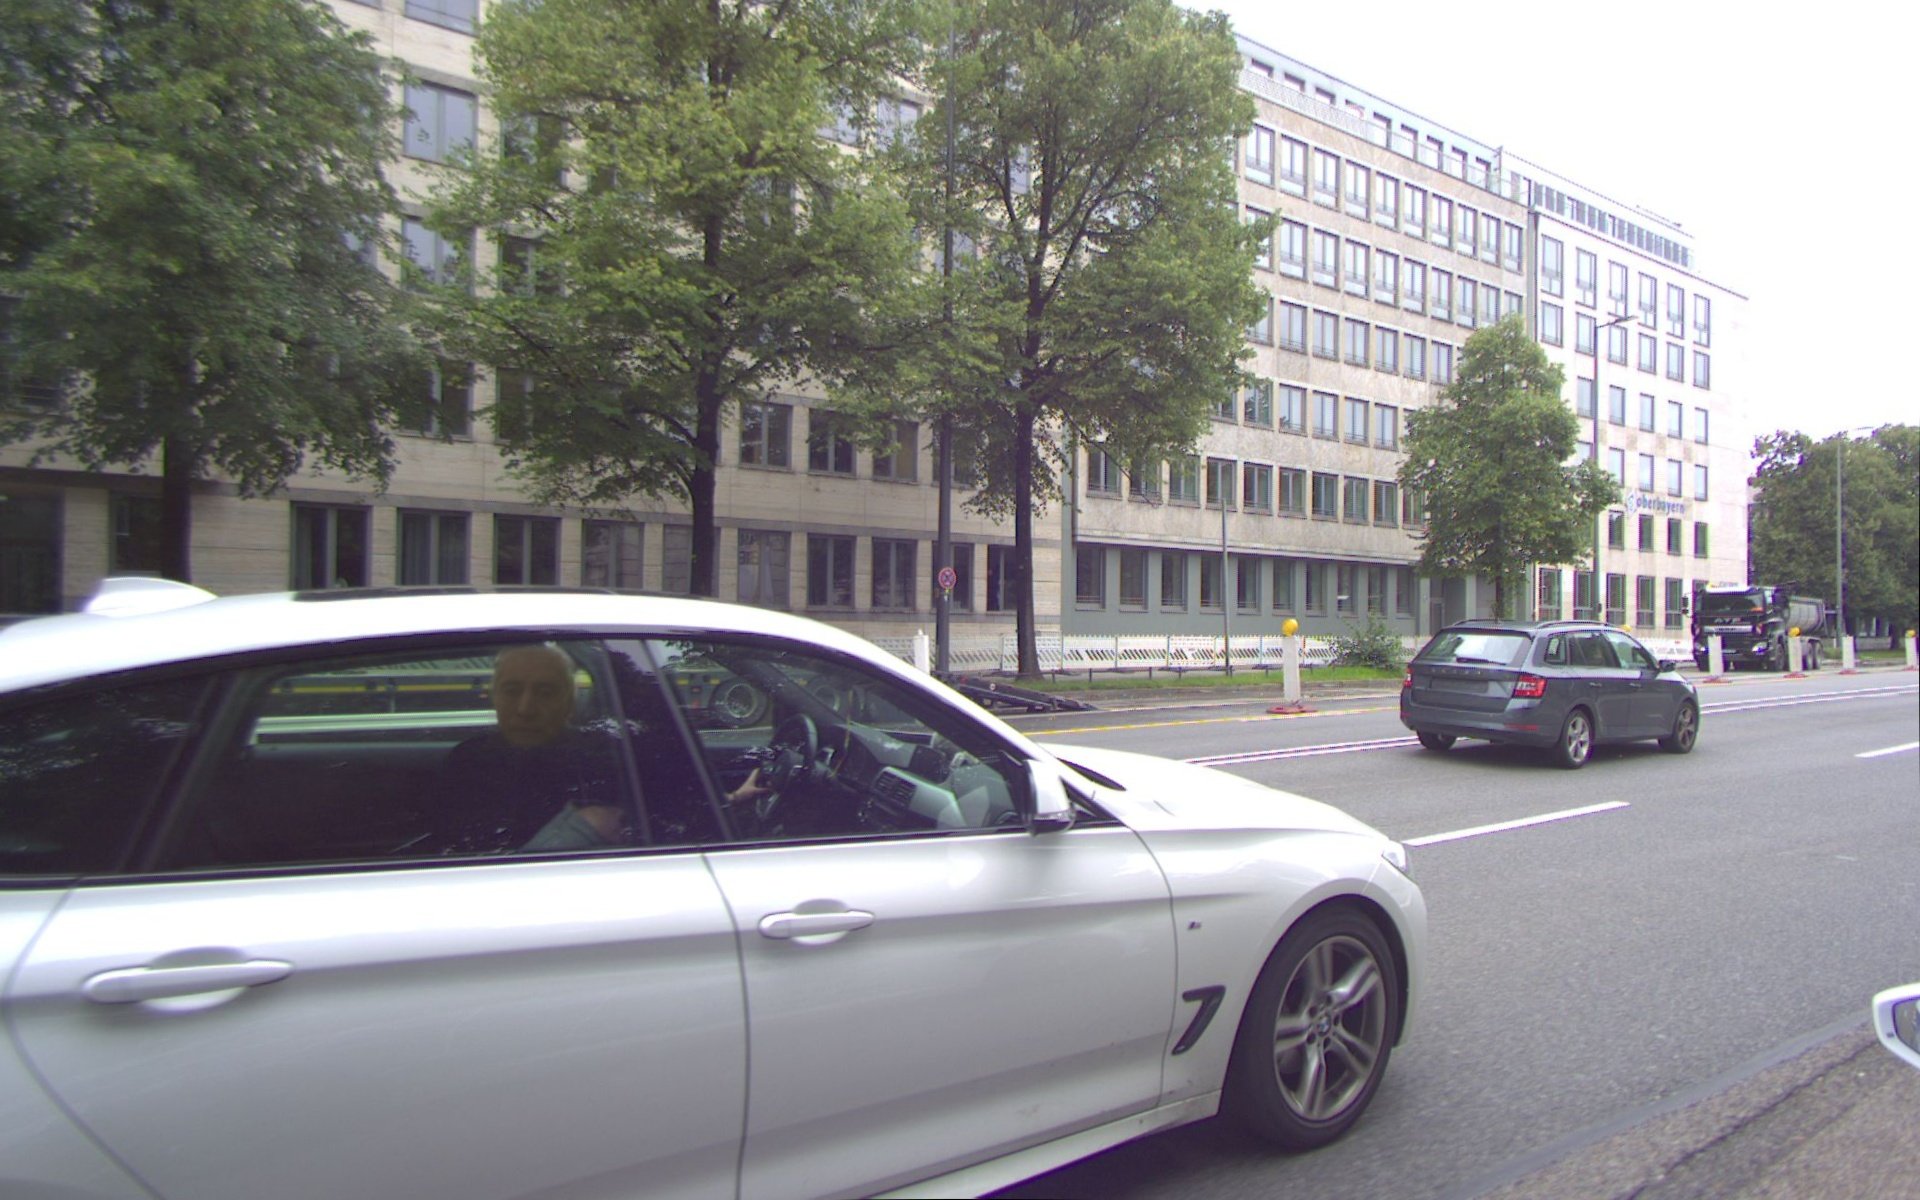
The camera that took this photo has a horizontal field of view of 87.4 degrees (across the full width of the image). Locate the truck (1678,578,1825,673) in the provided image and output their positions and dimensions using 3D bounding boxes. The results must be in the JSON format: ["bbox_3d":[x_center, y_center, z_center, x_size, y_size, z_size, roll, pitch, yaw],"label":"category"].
[{"bbox_3d":[31.611,0.974,39.975,8.691,3.401,2.817,1,0,-40],"label":"truck"}]

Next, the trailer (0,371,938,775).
[{"bbox_3d":[-5.931,-0.178,13.478,11.655,3.790,2.929,1,0,-36],"label":"trailer"}]

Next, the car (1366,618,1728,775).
[{"bbox_3d":[6.669,0.968,11.304,4.227,1.466,1.783,2,-2,-32],"label":"car"}]

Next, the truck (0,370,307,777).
[{"bbox_3d":[-10.988,-0.283,9.830,7.590,3.825,2.896,1,0,-35],"label":"truck"}]

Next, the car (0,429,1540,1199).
[{"bbox_3d":[-0.739,0.654,2.607,4.970,1.658,1.783,2,-2,-32],"label":"car"}]
